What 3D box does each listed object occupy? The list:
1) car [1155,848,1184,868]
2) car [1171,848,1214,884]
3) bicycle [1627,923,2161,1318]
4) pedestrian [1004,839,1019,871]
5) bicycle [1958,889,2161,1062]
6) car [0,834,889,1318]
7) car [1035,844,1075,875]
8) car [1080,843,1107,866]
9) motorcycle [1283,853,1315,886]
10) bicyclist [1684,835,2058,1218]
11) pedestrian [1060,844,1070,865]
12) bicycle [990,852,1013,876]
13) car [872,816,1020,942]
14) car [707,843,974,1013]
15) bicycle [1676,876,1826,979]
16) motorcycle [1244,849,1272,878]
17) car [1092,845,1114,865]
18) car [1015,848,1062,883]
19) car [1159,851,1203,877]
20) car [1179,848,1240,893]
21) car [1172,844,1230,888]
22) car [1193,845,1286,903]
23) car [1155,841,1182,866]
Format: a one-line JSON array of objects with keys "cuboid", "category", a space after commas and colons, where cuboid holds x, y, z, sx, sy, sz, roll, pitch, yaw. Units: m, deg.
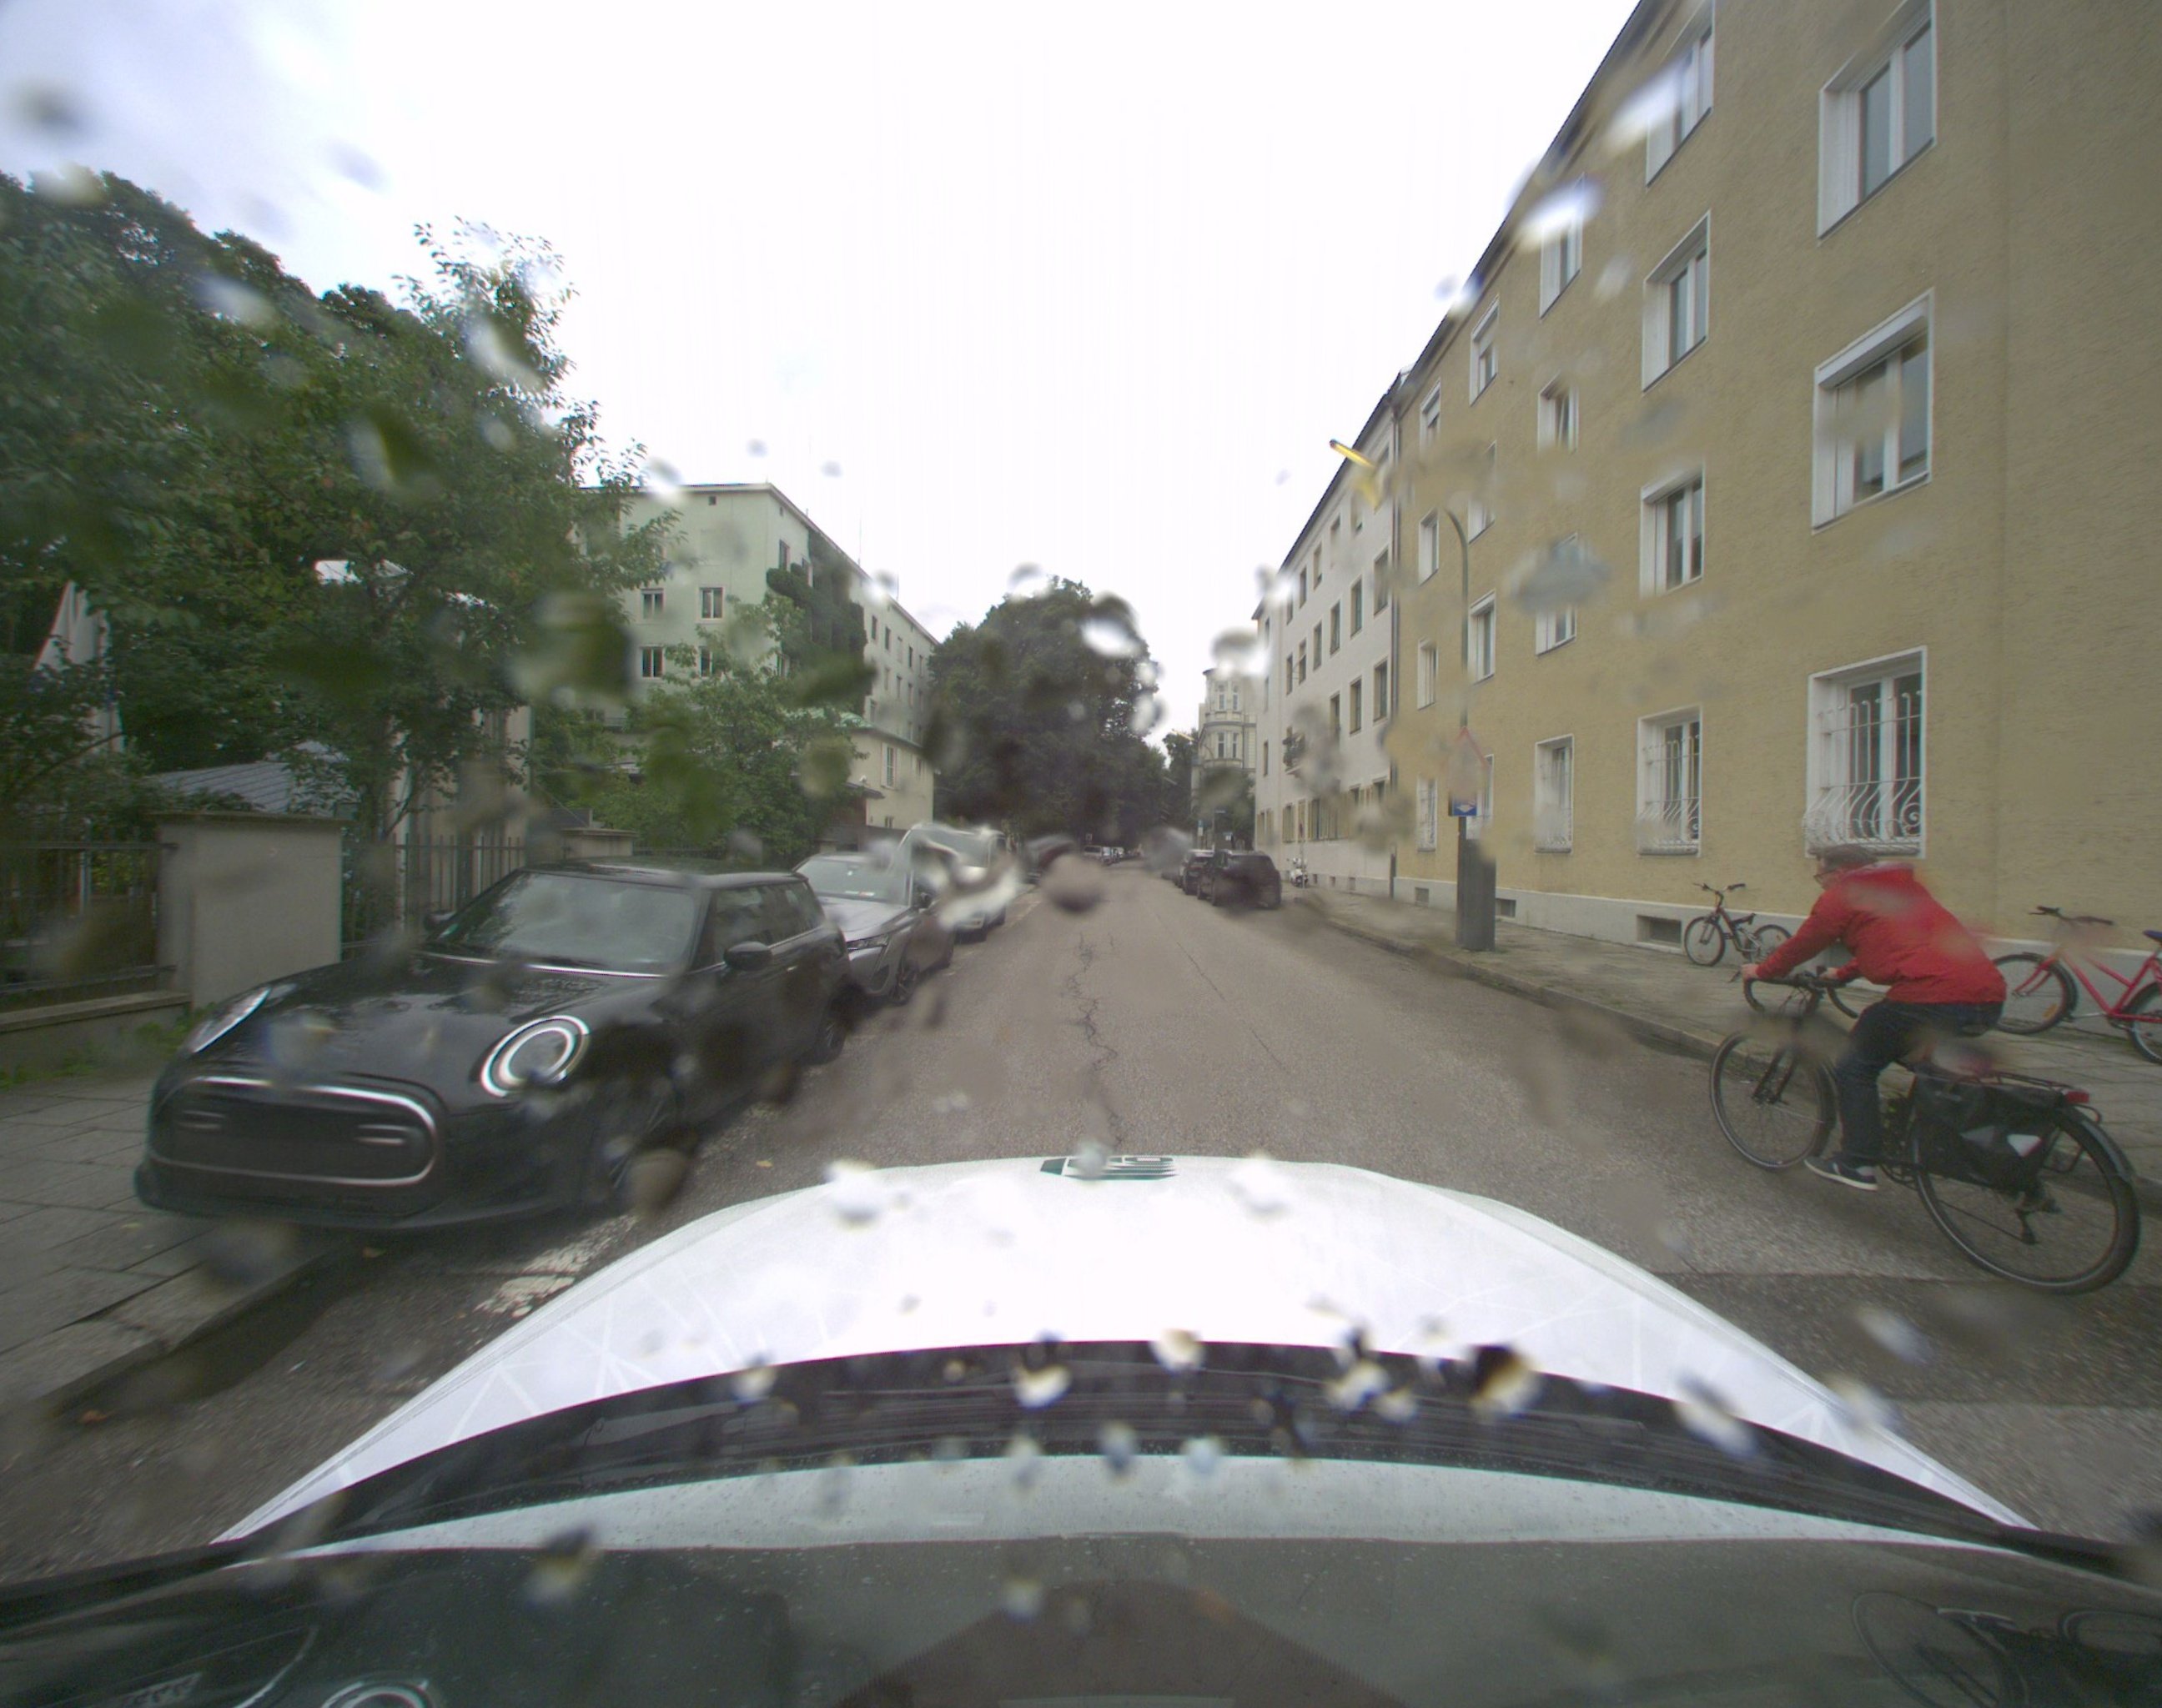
[{"cuboid": [7.309, 0.314, 67.112, 2.260, 1.546, 4.595, -1, 0, 7], "category": "car"}, {"cuboid": [5.435, 0.550, 40.142, 1.763, 1.546, 3.716, 5, 1, 4], "category": "car"}, {"cuboid": [3.485, 0.985, 3.759, 0.669, 1.141, 2.013, 2, 0, 4], "category": "bicycle"}, {"cuboid": [-4.052, 0.058, 47.716, 0.709, 1.852, 0.797, 2, 0, 3], "category": "pedestrian"}, {"cuboid": [7.686, 0.873, 6.112, 0.341, 1.135, 1.759, 0, 0, 1], "category": "bicycle"}, {"cuboid": [-2.653, 0.720, 4.726, 1.851, 1.544, 4.191, -1, 0, 3], "category": "car"}, {"cuboid": [-1.442, 0.304, 46.305, 1.880, 1.590, 4.530, 2, 0, 2], "category": "car"}, {"cuboid": [1.173, 0.036, 74.404, 2.239, 1.956, 5.456, 2, 0, 2], "category": "car"}, {"cuboid": [8.650, 0.598, 32.369, 0.729, 1.239, 2.008, 2, 0, 1], "category": "motorcycle"}, {"cuboid": [3.493, 0.681, 3.720, 0.751, 1.483, 0.982, 2, 0, 4], "category": "bicyclist"}, {"cuboid": [-1.239, 0.038, 64.216, 0.711, 1.548, 0.752, 2, 0, -1], "category": "pedestrian"}, {"cuboid": [-3.908, 0.478, 40.296, 0.645, 1.130, 2.052, 0, 0, 9], "category": "bicycle"}, {"cuboid": [-2.377, 0.396, 15.791, 1.960, 1.990, 5.150, 2, 0, 0], "category": "car"}, {"cuboid": [-2.505, 0.666, 9.816, 1.882, 1.543, 4.694, 1, 0, -1], "category": "car"}, {"cuboid": [8.120, 0.843, 9.966, 0.341, 1.082, 1.814, -2, 0, 1], "category": "bicycle"}, {"cuboid": [8.928, 0.469, 41.160, 0.854, 1.433, 2.707, 1, 0, 1], "category": "motorcycle"}, {"cuboid": [2.385, 0.059, 86.083, 2.175, 1.956, 5.169, 2, 0, 2], "category": "car"}, {"cuboid": [-1.828, 0.485, 36.571, 1.801, 1.402, 4.923, 2, 0, 0], "category": "car"}, {"cuboid": [5.478, 0.522, 45.024, 1.992, 1.319, 4.598, -2, 0, 2], "category": "car"}, {"cuboid": [4.670, 0.558, 30.230, 1.830, 1.531, 4.420, 0, 0, 3], "category": "car"}, {"cuboid": [5.142, 0.484, 35.524, 1.985, 1.707, 4.537, 3, 0, 3], "category": "car"}, {"cuboid": [4.683, 0.542, 24.787, 1.854, 1.577, 4.898, 0, 0, 0], "category": "car"}, {"cuboid": [7.928, -0.055, 74.060, 2.194, 2.208, 4.859, -1, 0, 3], "category": "car"}]
